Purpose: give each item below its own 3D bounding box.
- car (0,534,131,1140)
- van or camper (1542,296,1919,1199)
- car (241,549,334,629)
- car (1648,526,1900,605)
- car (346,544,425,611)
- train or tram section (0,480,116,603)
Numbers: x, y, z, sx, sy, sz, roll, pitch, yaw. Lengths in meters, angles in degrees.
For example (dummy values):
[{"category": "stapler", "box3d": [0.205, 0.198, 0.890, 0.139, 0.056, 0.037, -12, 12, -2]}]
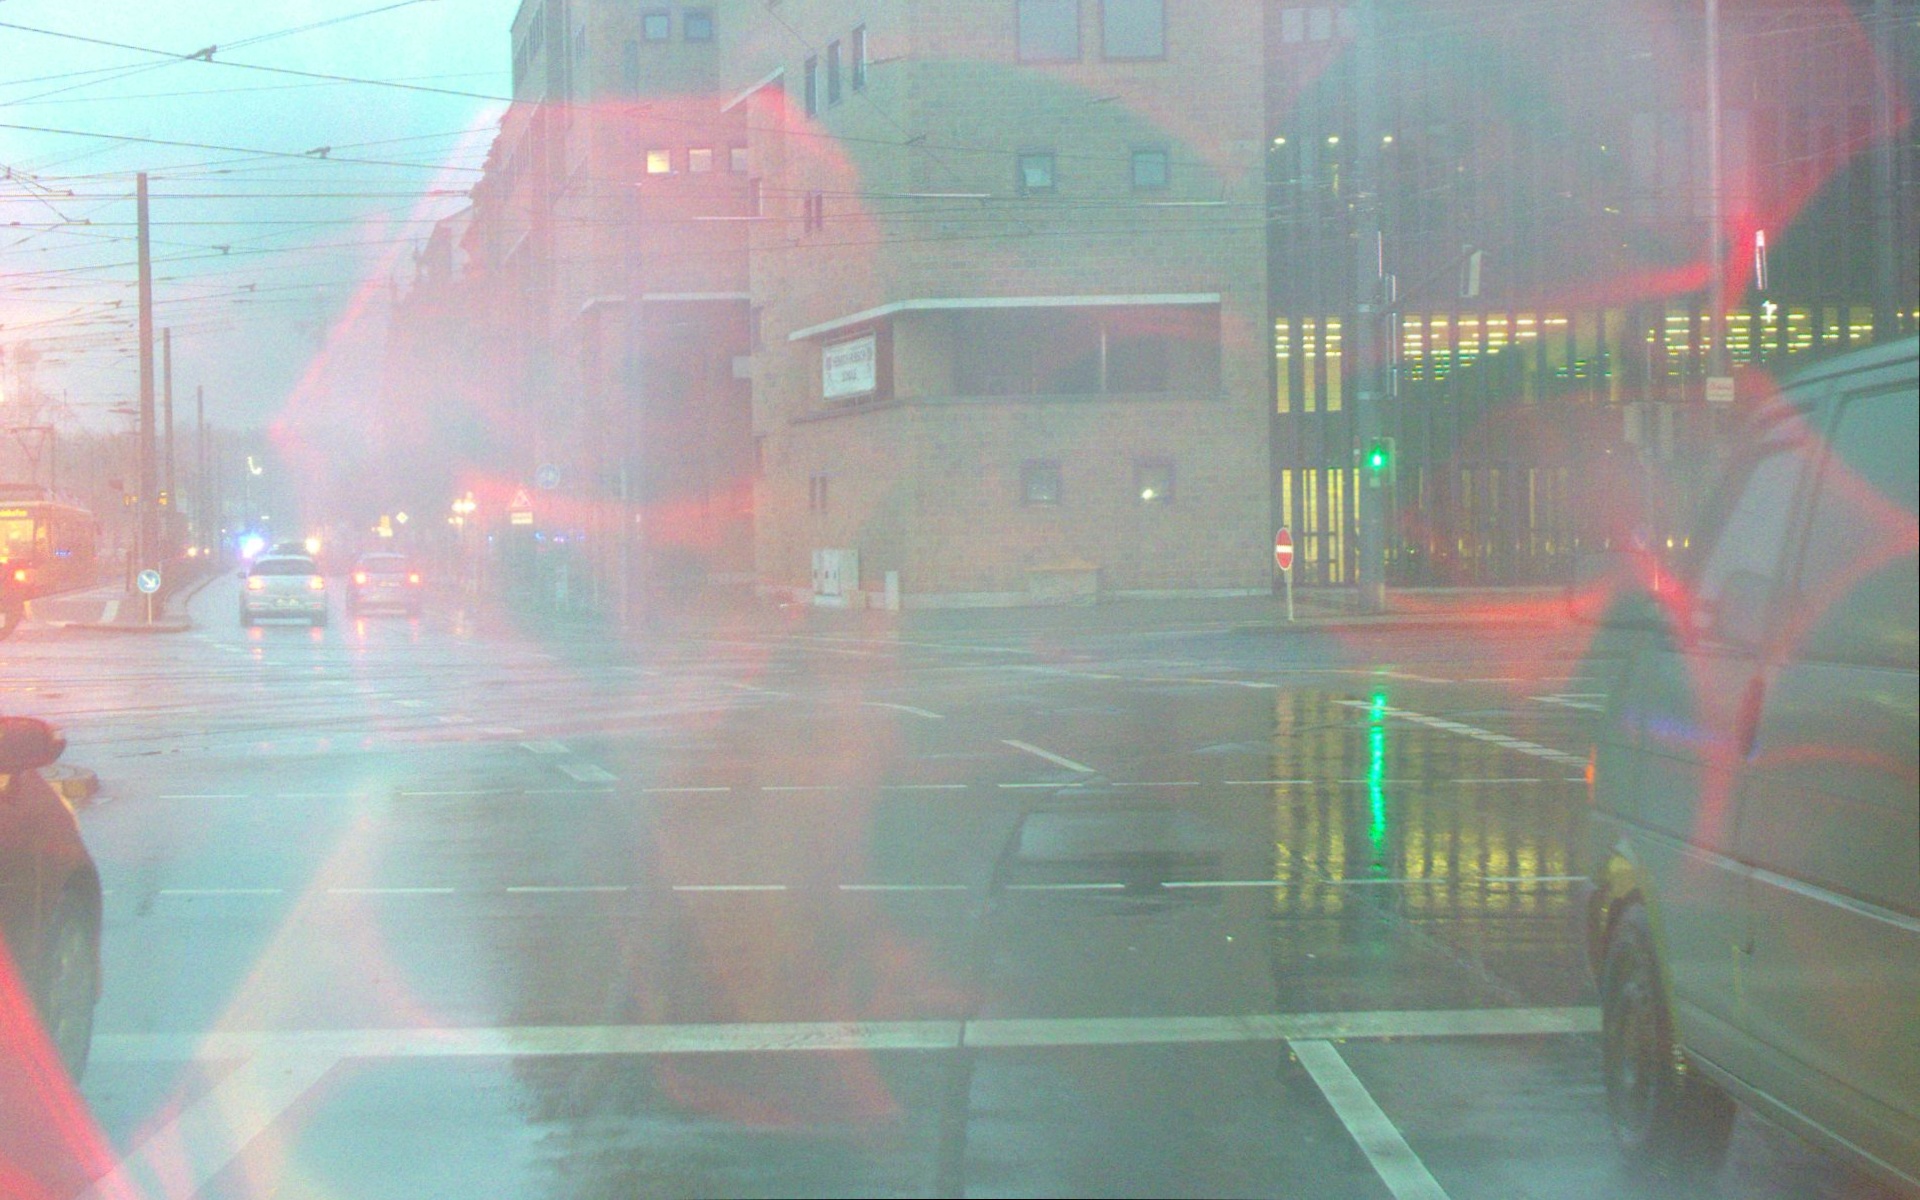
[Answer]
[{"category": "car", "box3d": [-3.159, 0.593, 7.723, 1.698, 1.454, 3.757, -1, 1, -1]}, {"category": "van or camper", "box3d": [2.407, 0.446, 6.493, 1.757, 1.900, 4.419, 1, 1, -1]}, {"category": "car", "box3d": [-14.310, -0.255, 73.231, 1.870, 1.573, 4.001, 1, 1, -11]}, {"category": "car", "box3d": [14.662, -0.631, 62.052, 3.986, 1.305, 2.000, -1, 1, -4]}, {"category": "car", "box3d": [-14.498, -0.581, 86.858, 1.870, 1.573, 4.001, 1, 1, -9]}, {"category": "train or tram section", "box3d": [-29.389, -1.843, 109.880, 3.190, 3.424, 27.839, -1, 1, -11]}]
